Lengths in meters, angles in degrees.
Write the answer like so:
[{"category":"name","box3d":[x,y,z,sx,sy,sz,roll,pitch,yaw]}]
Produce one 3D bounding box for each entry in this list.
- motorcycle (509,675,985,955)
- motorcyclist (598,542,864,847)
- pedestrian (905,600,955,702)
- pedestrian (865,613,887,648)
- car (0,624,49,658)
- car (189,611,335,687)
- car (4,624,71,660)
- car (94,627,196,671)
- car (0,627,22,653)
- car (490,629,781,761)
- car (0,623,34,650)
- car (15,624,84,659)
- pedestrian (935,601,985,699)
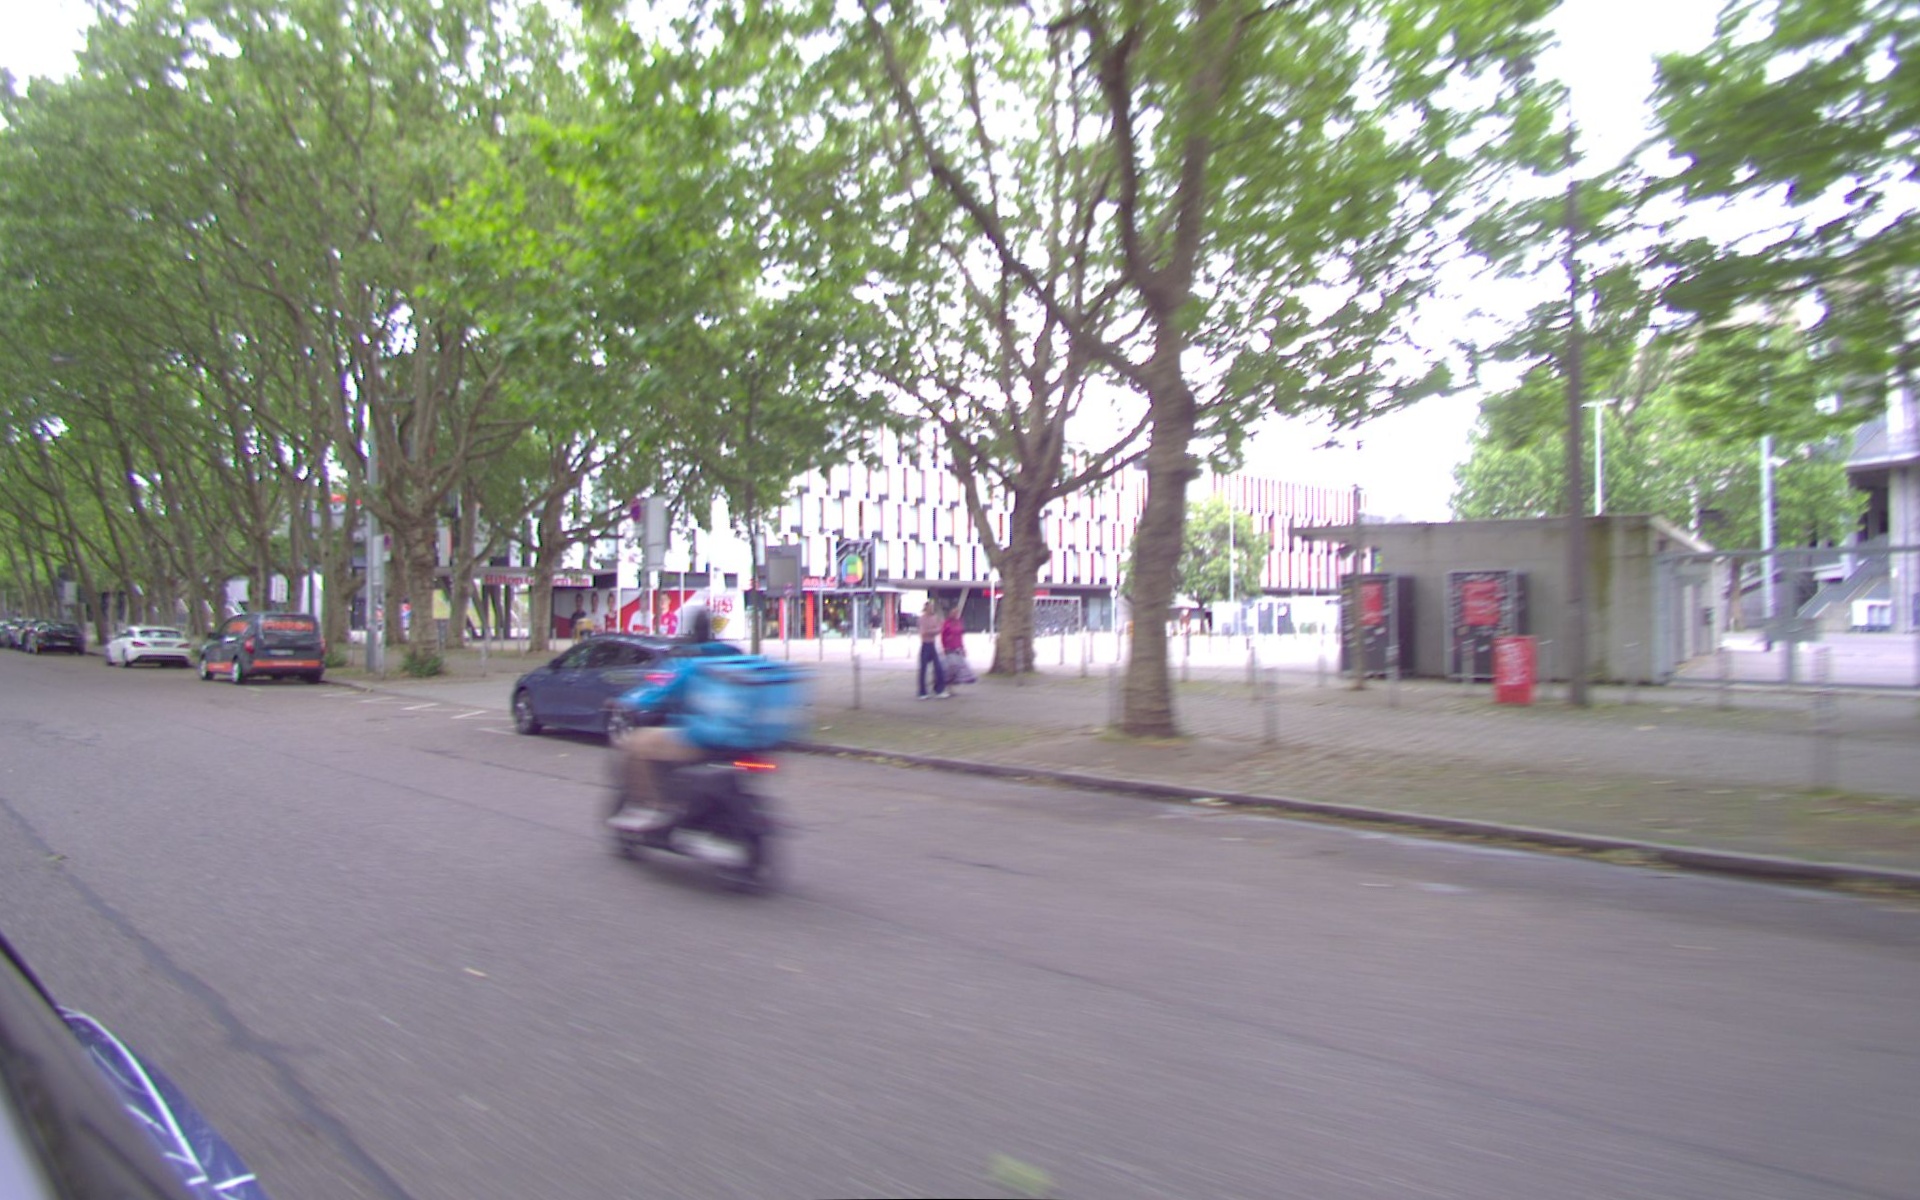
[{"category":"motorcycle","box3d":[-1.339,1.033,5.701,3.048,1.087,0.865,-1,-1,38]},{"category":"motorcyclist","box3d":[-1.295,0.475,5.689,1.263,1.491,0.862,-1,-1,38]},{"category":"pedestrian","box3d":[-0.537,0.898,18.196,0.569,1.783,0.769,0,-1,-34]},{"category":"pedestrian","box3d":[-4.106,1.476,49.372,0.808,1.704,0.716,-2,-2,45]},{"category":"car","box3d":[-50.317,2.180,53.843,4.642,1.731,1.851,-1,-5,38]},{"category":"car","box3d":[-17.860,1.213,25.818,4.635,1.764,1.929,-1,-3,41]},{"category":"car","box3d":[-45.910,2.090,50.331,4.927,1.656,1.916,-2,-5,42]},{"category":"car","box3d":[-28.219,1.672,34.977,4.749,1.413,1.884,-1,-5,41]},{"category":"car","box3d":[-58.404,2.428,61.168,5.144,1.542,2.061,-2,-3,43]},{"category":"car","box3d":[-4.569,1.157,13.853,4.572,1.497,1.706,-1,-2,41]},{"category":"car","box3d":[-54.310,2.067,57.607,4.228,1.467,1.814,-2,-5,41]},{"category":"car","box3d":[-41.901,1.907,46.547,4.441,1.506,1.814,-2,-5,42]},{"category":"pedestrian","box3d":[-0.003,0.899,18.591,0.567,1.755,0.769,0,-1,-34]}]
